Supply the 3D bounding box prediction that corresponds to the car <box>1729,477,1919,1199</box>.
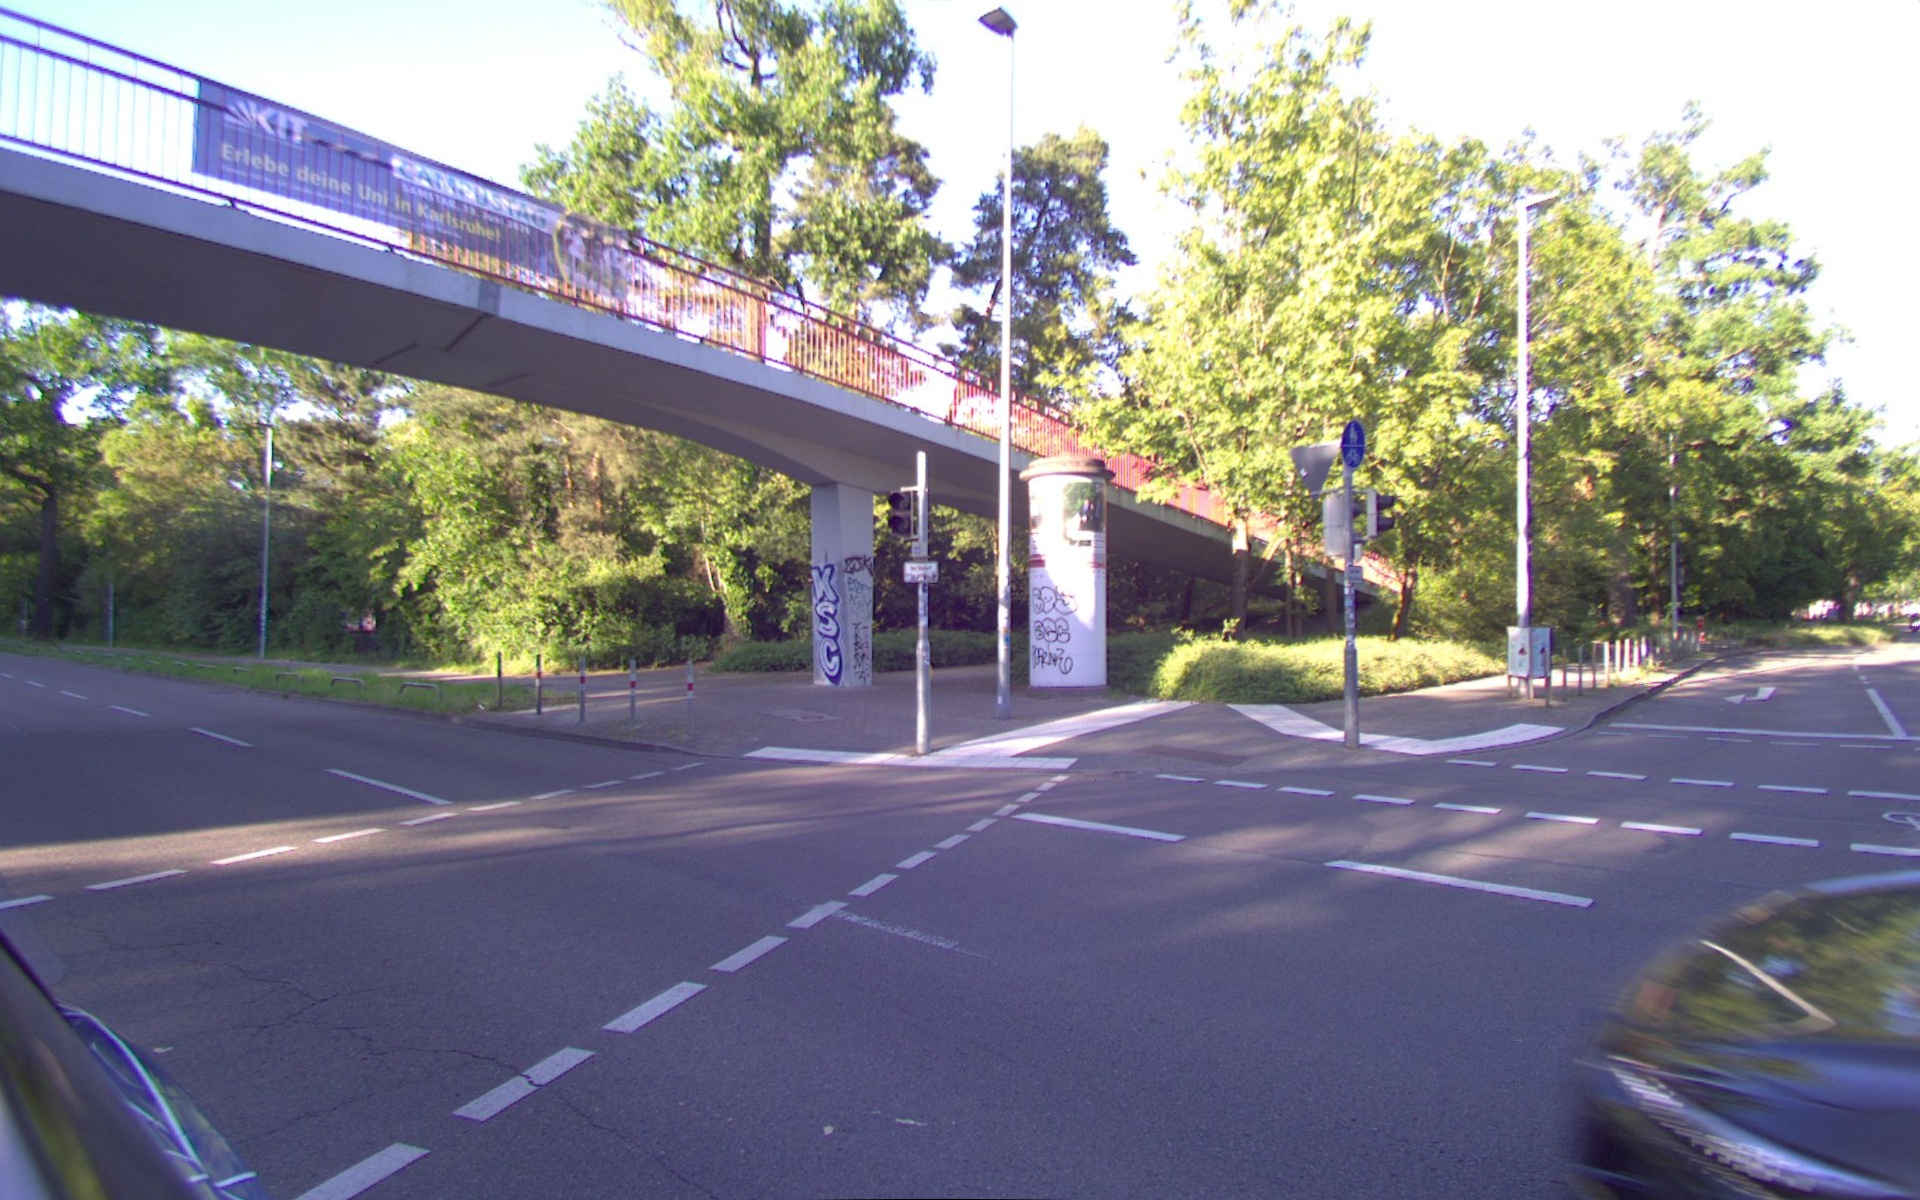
[{"bbox_3d":[3.324,0.619,0.442,4.645,1.517,1.940,-1,-2,41],"label":"car"}]
